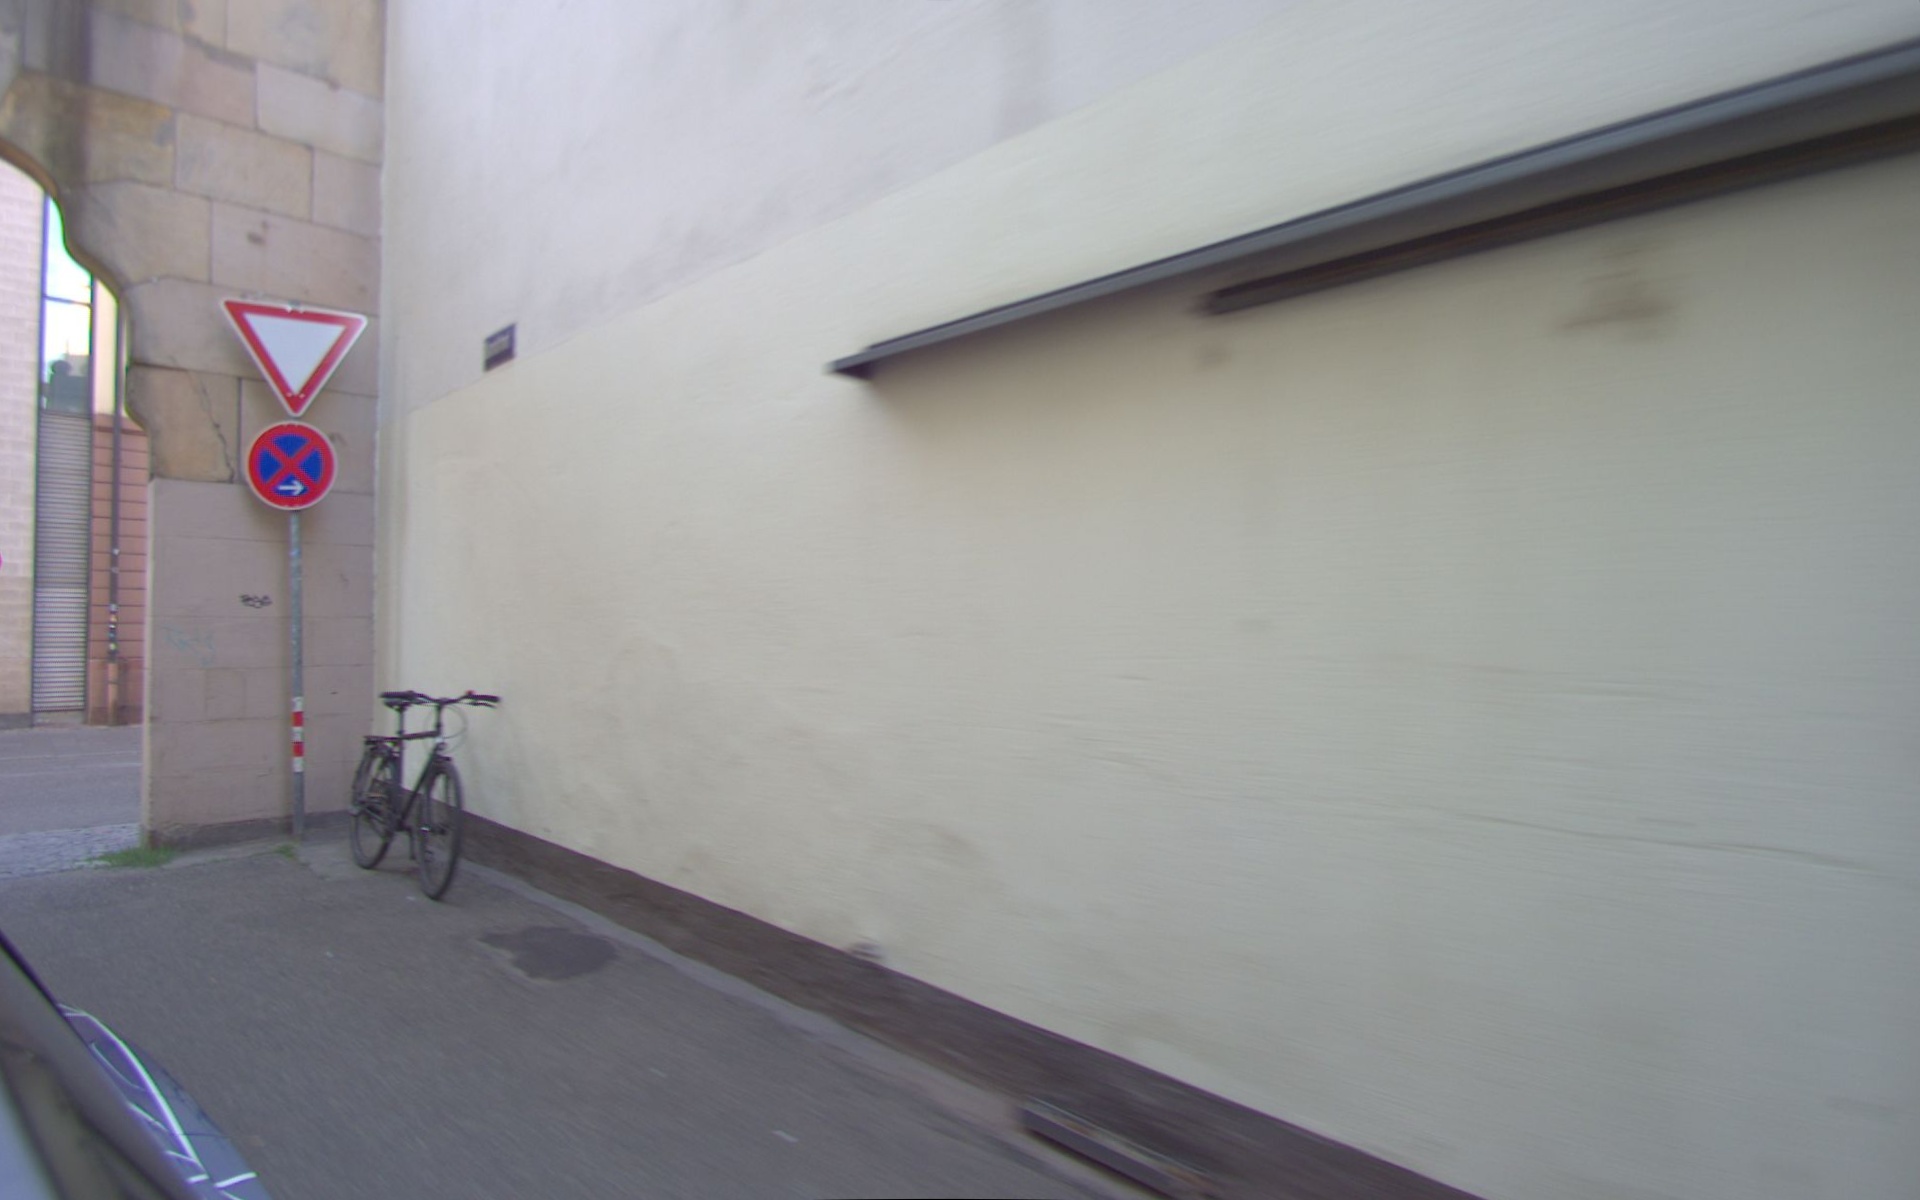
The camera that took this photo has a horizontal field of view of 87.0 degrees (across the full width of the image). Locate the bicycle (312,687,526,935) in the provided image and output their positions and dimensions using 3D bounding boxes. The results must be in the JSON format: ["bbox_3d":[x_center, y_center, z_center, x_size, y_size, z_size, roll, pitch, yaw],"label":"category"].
[{"bbox_3d":[-3.114,1.096,5.748,0.588,1.087,1.757,1,-2,-45],"label":"bicycle"}]
